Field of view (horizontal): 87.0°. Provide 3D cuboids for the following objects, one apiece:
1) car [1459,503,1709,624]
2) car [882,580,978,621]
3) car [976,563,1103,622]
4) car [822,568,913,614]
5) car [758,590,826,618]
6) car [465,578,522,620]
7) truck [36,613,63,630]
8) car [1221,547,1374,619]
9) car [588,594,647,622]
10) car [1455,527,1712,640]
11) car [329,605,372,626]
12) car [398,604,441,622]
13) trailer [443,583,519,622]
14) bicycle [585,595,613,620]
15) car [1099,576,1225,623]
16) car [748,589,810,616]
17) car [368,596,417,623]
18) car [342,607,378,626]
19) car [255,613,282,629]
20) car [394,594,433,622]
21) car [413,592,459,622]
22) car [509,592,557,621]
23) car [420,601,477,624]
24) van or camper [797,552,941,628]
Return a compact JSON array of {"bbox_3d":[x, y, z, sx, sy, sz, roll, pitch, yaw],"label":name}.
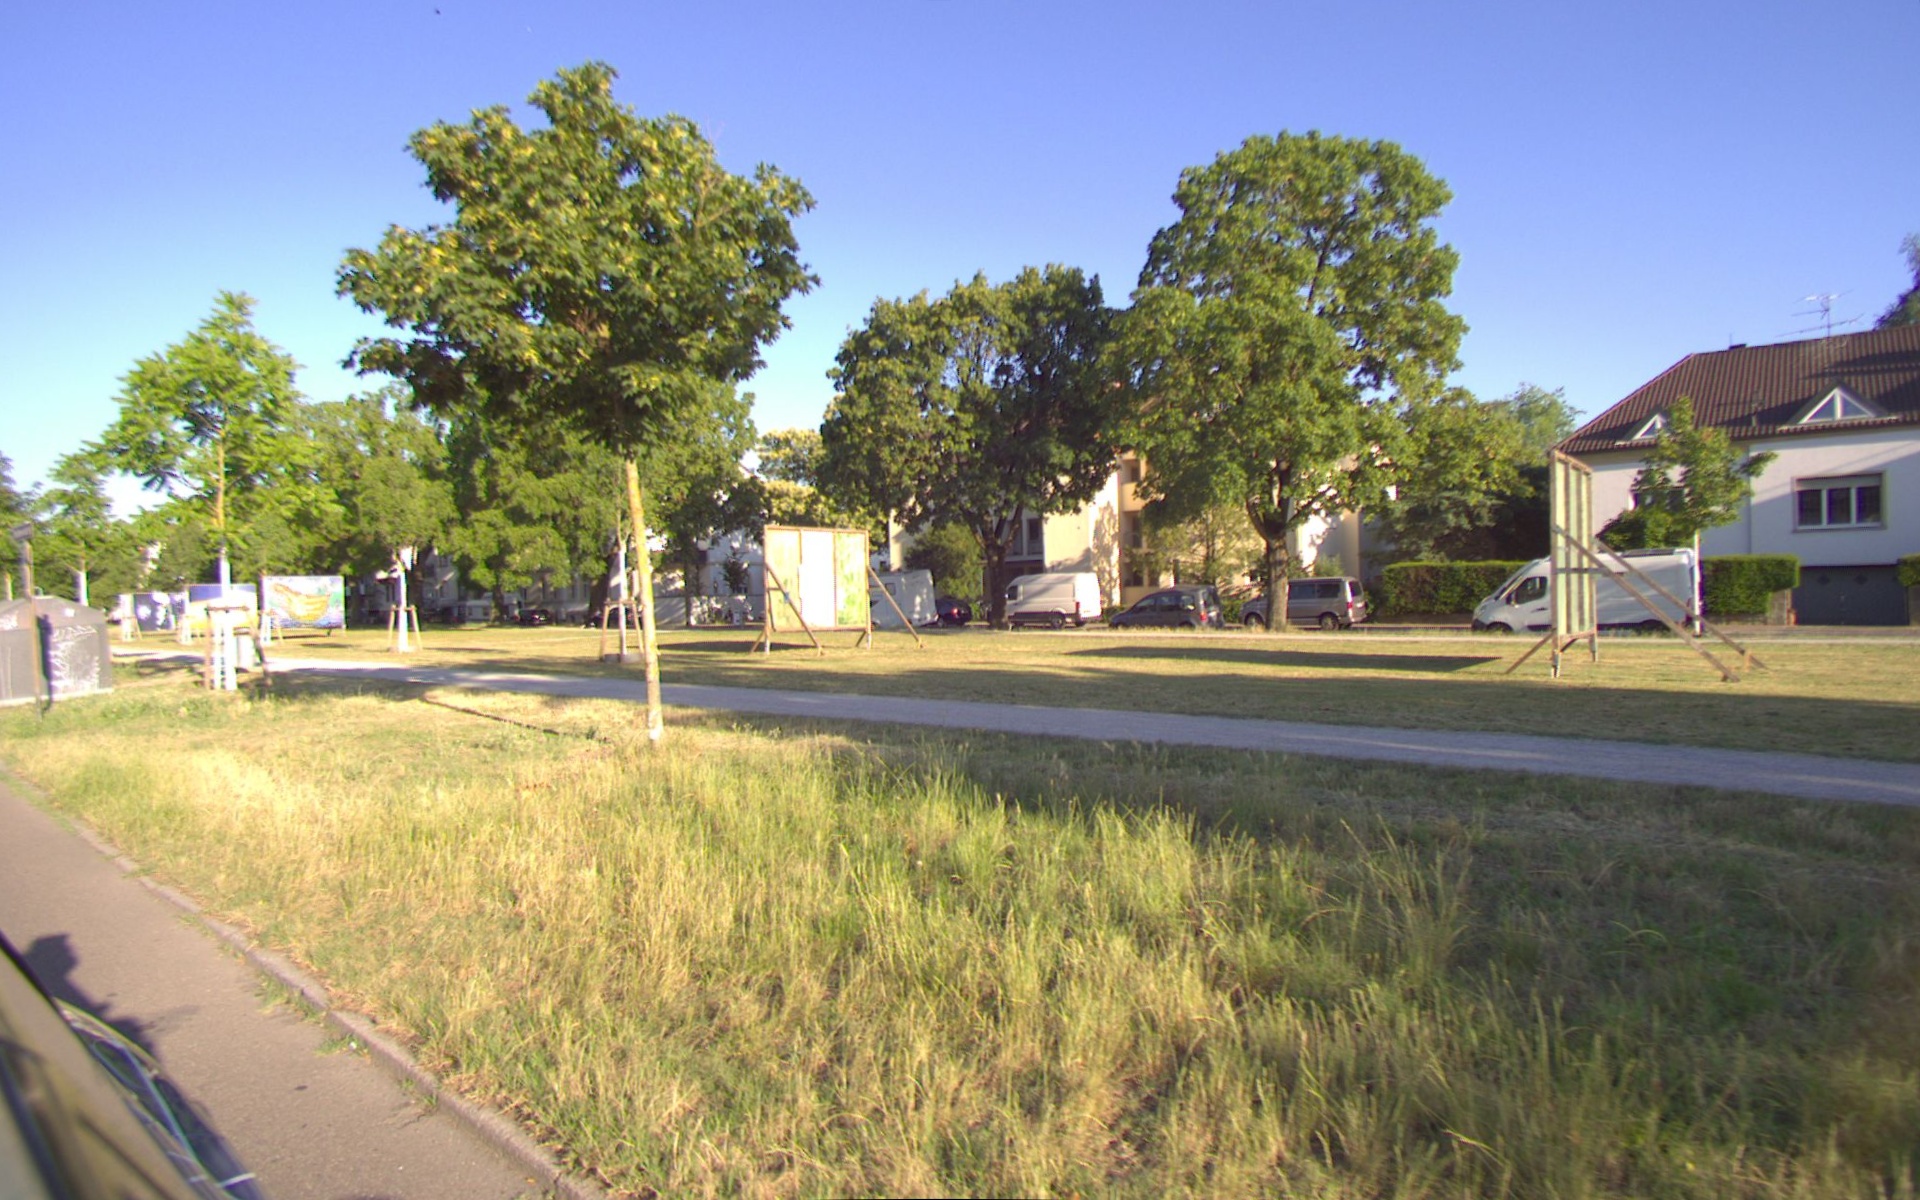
[{"bbox_3d":[20.433,-1.079,33.405,6.762,3.586,2.279,0,-2,41],"label":"car"},{"bbox_3d":[-1.633,0.029,52.999,5.048,2.019,1.949,-1,1,42],"label":"car"},{"bbox_3d":[3.752,-0.320,48.699,6.087,2.617,1.973,0,-2,41],"label":"car"},{"bbox_3d":[-4.341,-0.414,47.262,3.998,2.029,1.973,-1,0,42],"label":"car"},{"bbox_3d":[-9.995,0.230,60.200,3.805,1.554,1.974,-1,1,39],"label":"car"},{"bbox_3d":[-39.218,-0.057,85.056,6.071,3.274,1.973,-2,-1,41],"label":"car"},{"bbox_3d":[-175.818,4.183,195.339,7.704,3.170,2.750,-2,0,40],"label":"truck"},{"bbox_3d":[13.224,-0.619,39.856,5.320,2.624,2.114,0,-2,39],"label":"car"},{"bbox_3d":[-24.646,0.573,72.729,4.712,1.927,1.870,-1,0,42],"label":"car"},{"bbox_3d":[17.365,-0.393,28.416,5.869,2.847,2.237,0,-2,41],"label":"car"},{"bbox_3d":[-55.030,1.417,91.305,4.341,1.742,1.974,-2,0,40],"label":"car"},{"bbox_3d":[-43.300,1.036,80.987,4.043,1.325,1.833,0,2,44],"label":"car"},{"bbox_3d":[-34.940,0.214,73.707,6.632,2.679,2.448,0,-2,40],"label":"trailer"},{"bbox_3d":[-20.457,0.423,57.321,2.331,1.352,0.505,-1,0,44],"label":"bicycle"},{"bbox_3d":[7.295,-0.002,36.775,4.306,1.576,1.400,-1,1,40],"label":"car"},{"bbox_3d":[-13.454,0.165,75.482,1.977,1.914,4.472,-1,0,36],"label":"car"},{"bbox_3d":[-47.507,0.803,84.669,4.565,2.191,1.974,-2,0,39],"label":"car"},{"bbox_3d":[-62.290,1.747,105.046,4.280,1.838,1.605,-2,0,37],"label":"car"},{"bbox_3d":[-73.345,2.224,107.318,1.868,1.534,3.683,-1,-1,-43],"label":"car"},{"bbox_3d":[-51.880,0.748,96.096,3.998,2.560,1.973,1,1,41],"label":"car"},{"bbox_3d":[-48.169,0.620,92.963,5.042,2.660,1.925,0,-2,41],"label":"car"},{"bbox_3d":[-34.018,0.517,80.667,3.998,2.170,1.973,-1,0,42],"label":"car"},{"bbox_3d":[-39.260,0.934,77.629,4.947,1.654,1.974,-1,2,39],"label":"car"},{"bbox_3d":[-4.341,-0.414,47.262,6.902,3.287,2.614,-1,0,42],"label":"van or camper"}]
